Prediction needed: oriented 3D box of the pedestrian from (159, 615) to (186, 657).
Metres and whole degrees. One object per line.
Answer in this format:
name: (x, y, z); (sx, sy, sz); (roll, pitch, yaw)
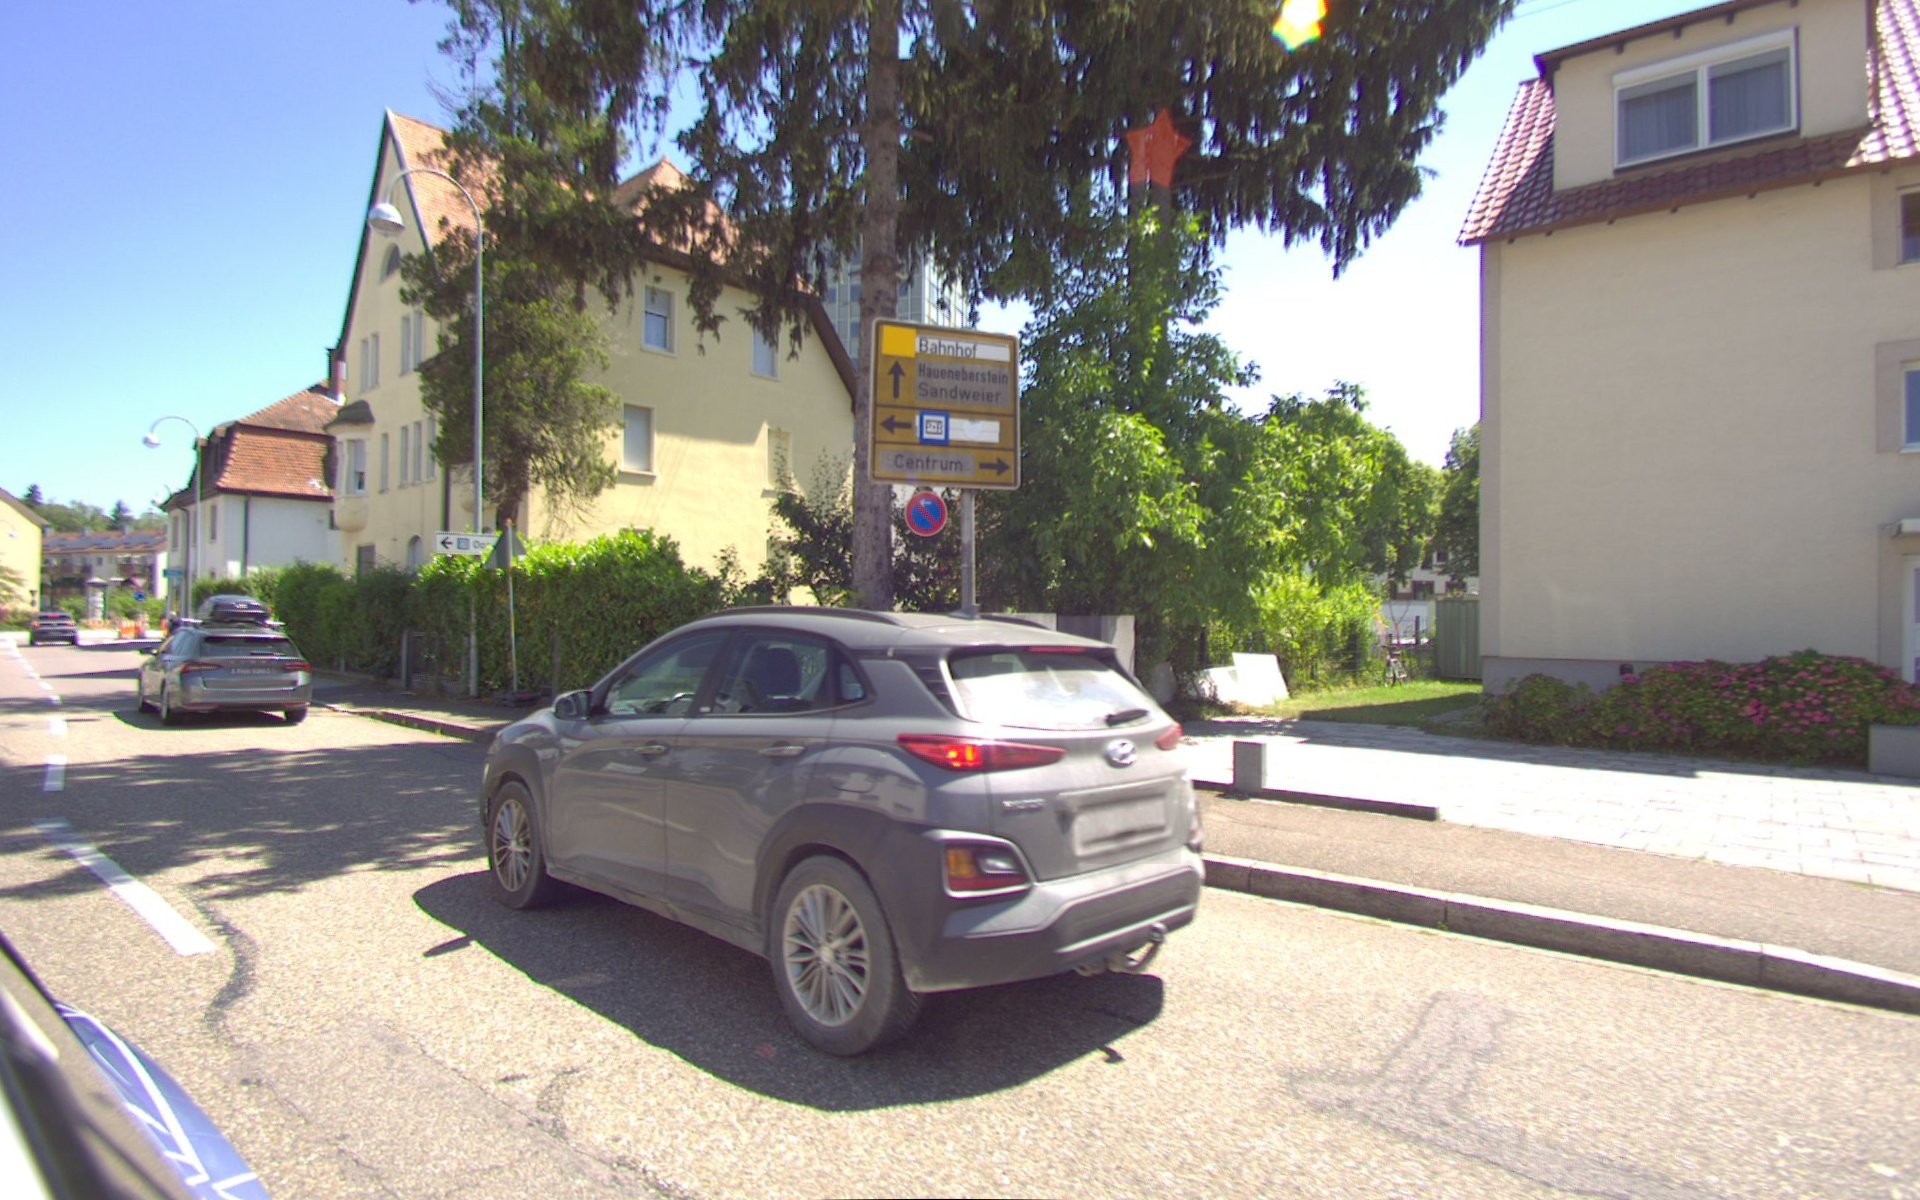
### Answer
pedestrian: (-30.883, 1.395, 39.687); (0.824, 1.576, 0.606); (-1, 3, 43)

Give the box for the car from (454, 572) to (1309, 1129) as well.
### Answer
car: (-0.690, 0.767, 4.845); (4.143, 1.516, 1.721); (-1, -4, 43)

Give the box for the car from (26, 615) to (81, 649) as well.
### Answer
car: (-44.657, 1.535, 49.824); (1.832, 1.629, 4.300); (1, -1, -44)

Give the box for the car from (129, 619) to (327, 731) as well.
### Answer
car: (-11.521, 1.101, 15.806); (1.785, 1.500, 4.389); (4, -4, -45)
